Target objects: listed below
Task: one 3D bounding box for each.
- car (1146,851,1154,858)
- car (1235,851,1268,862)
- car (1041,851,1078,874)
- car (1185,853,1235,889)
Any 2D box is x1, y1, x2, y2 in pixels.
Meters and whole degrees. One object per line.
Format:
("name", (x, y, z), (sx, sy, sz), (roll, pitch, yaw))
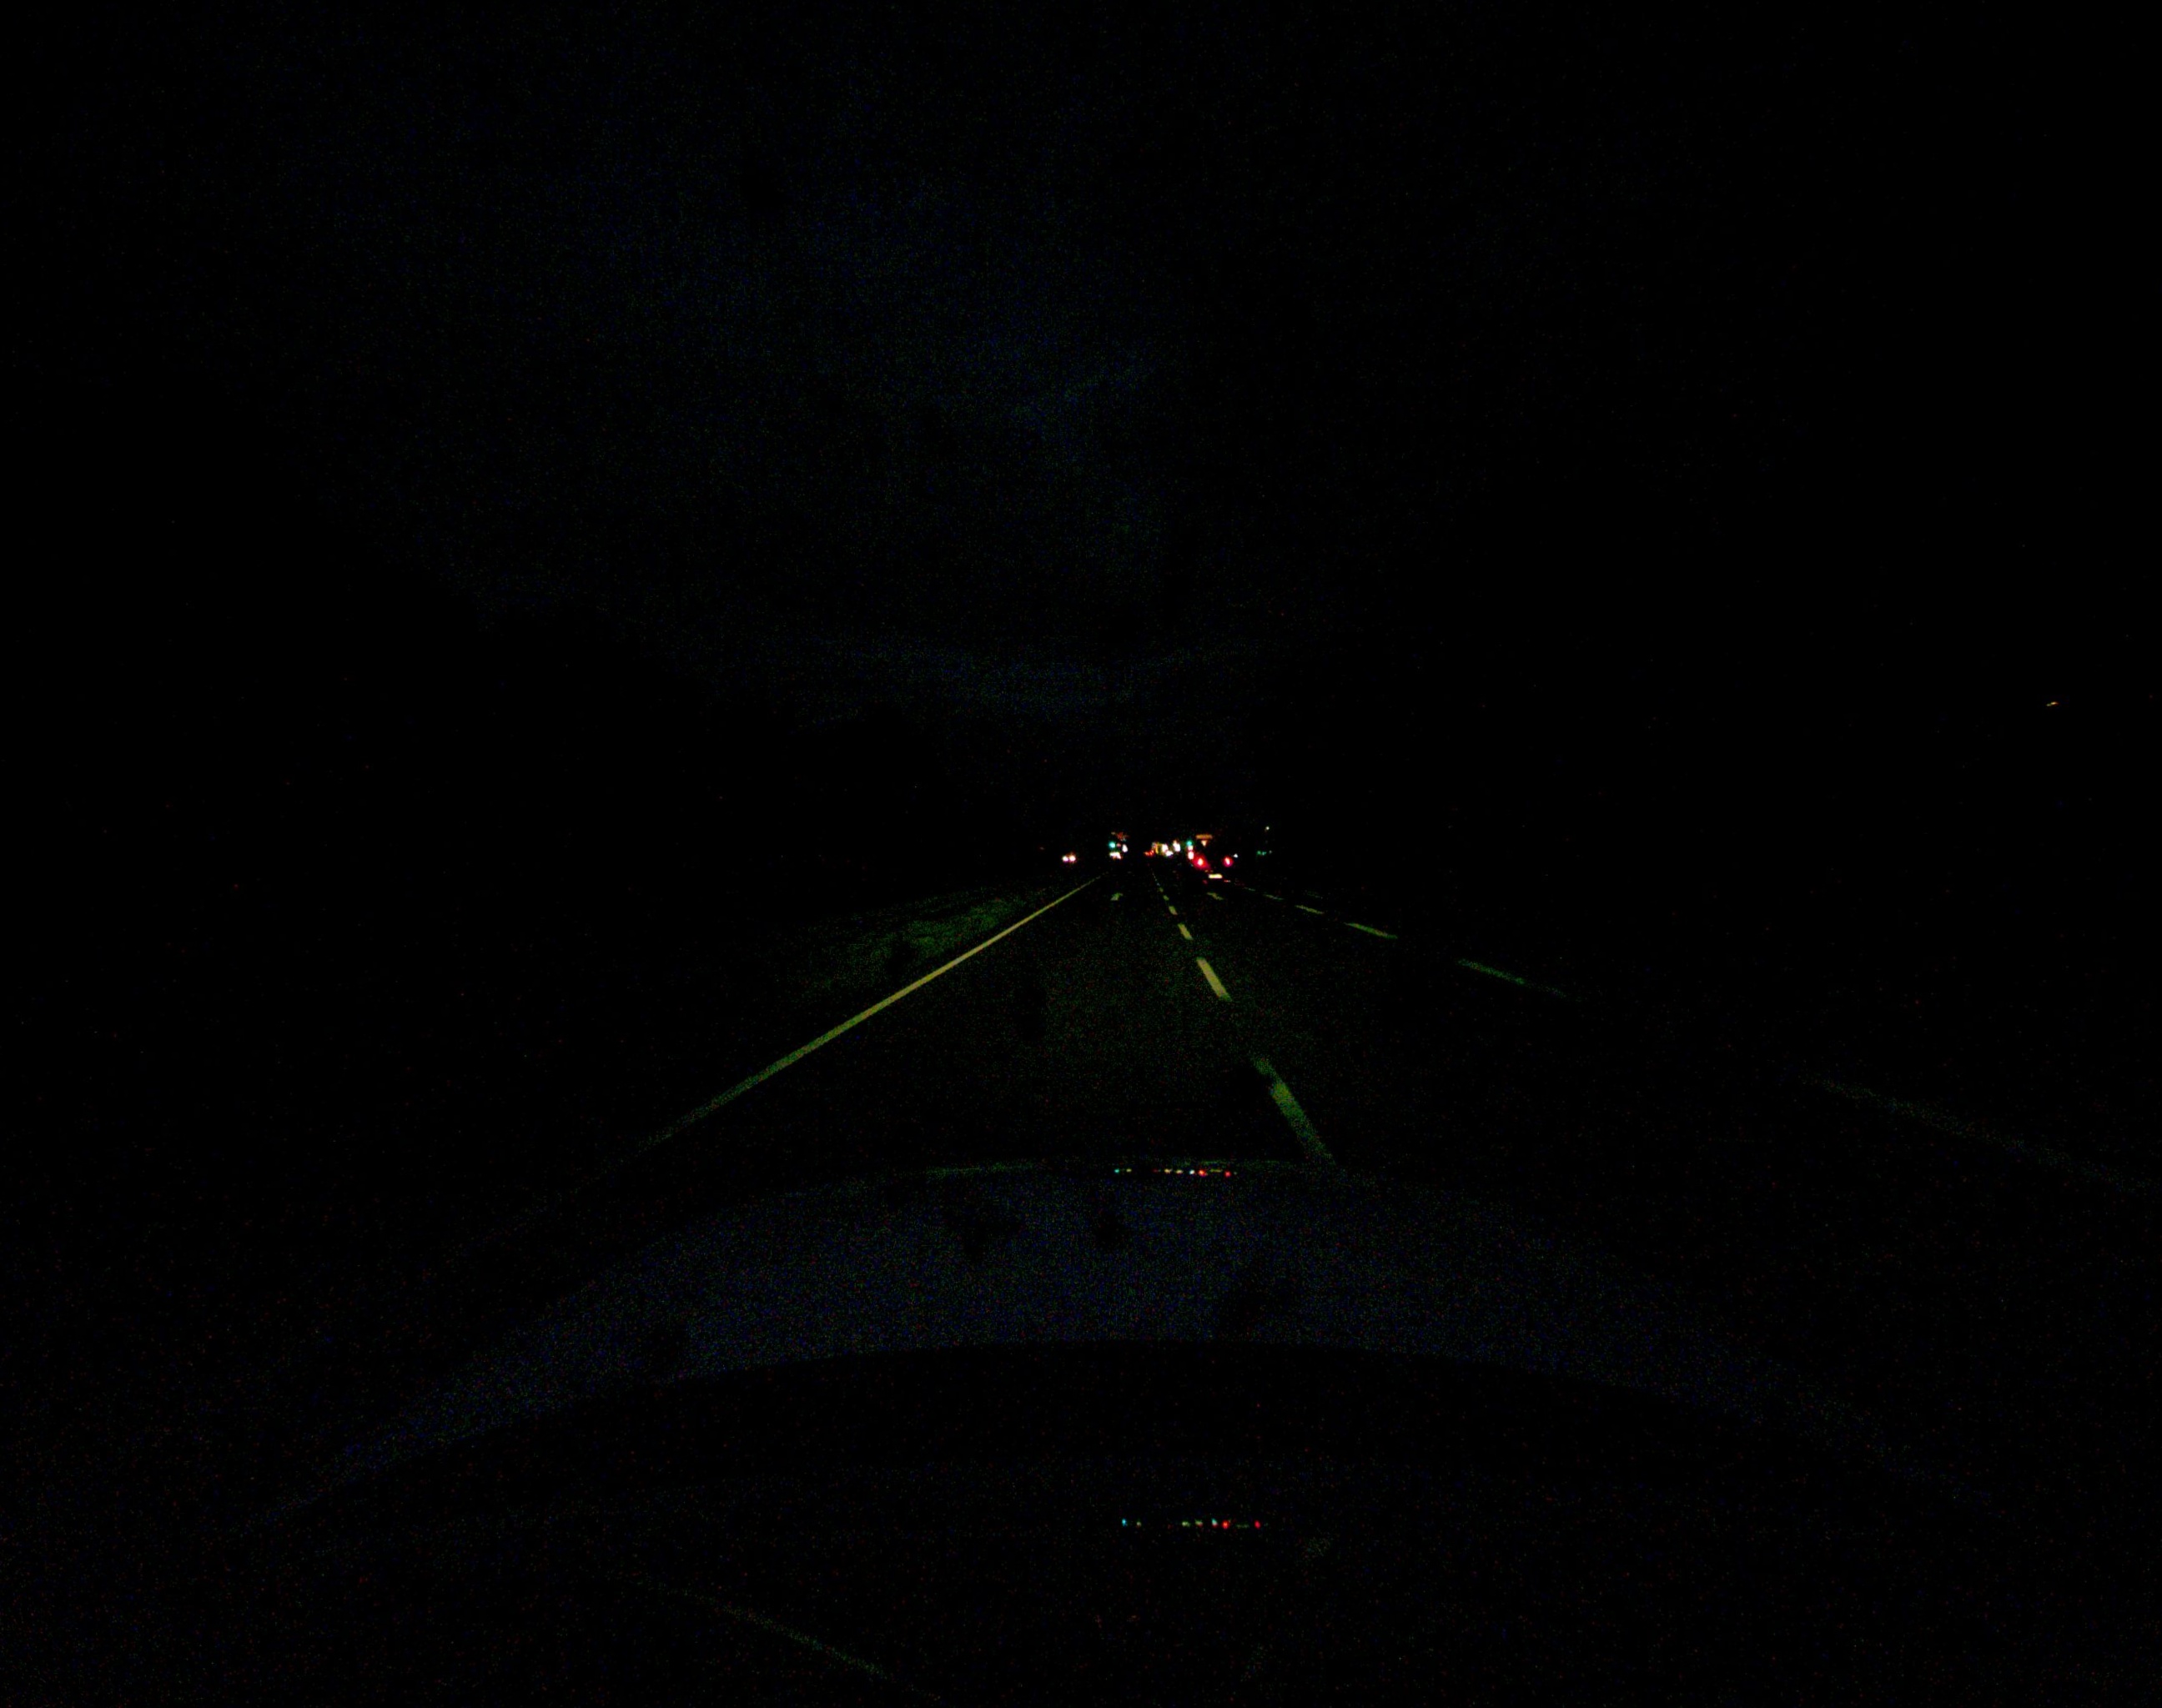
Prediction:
("car", (19.931, 0.052, 235.423), (1.986, 1.750, 4.002), (-5, -1, 2))
("car", (25.719, 0.340, 123.163), (4.693, 1.453, 2.004), (-1, 0, 7))
("car", (-1.543, 0.657, 60.290), (1.984, 1.453, 4.741), (-5, -1, 5))
("car", (5.569, 0.699, 35.588), (1.745, 1.453, 4.438), (-1, 0, 4))
